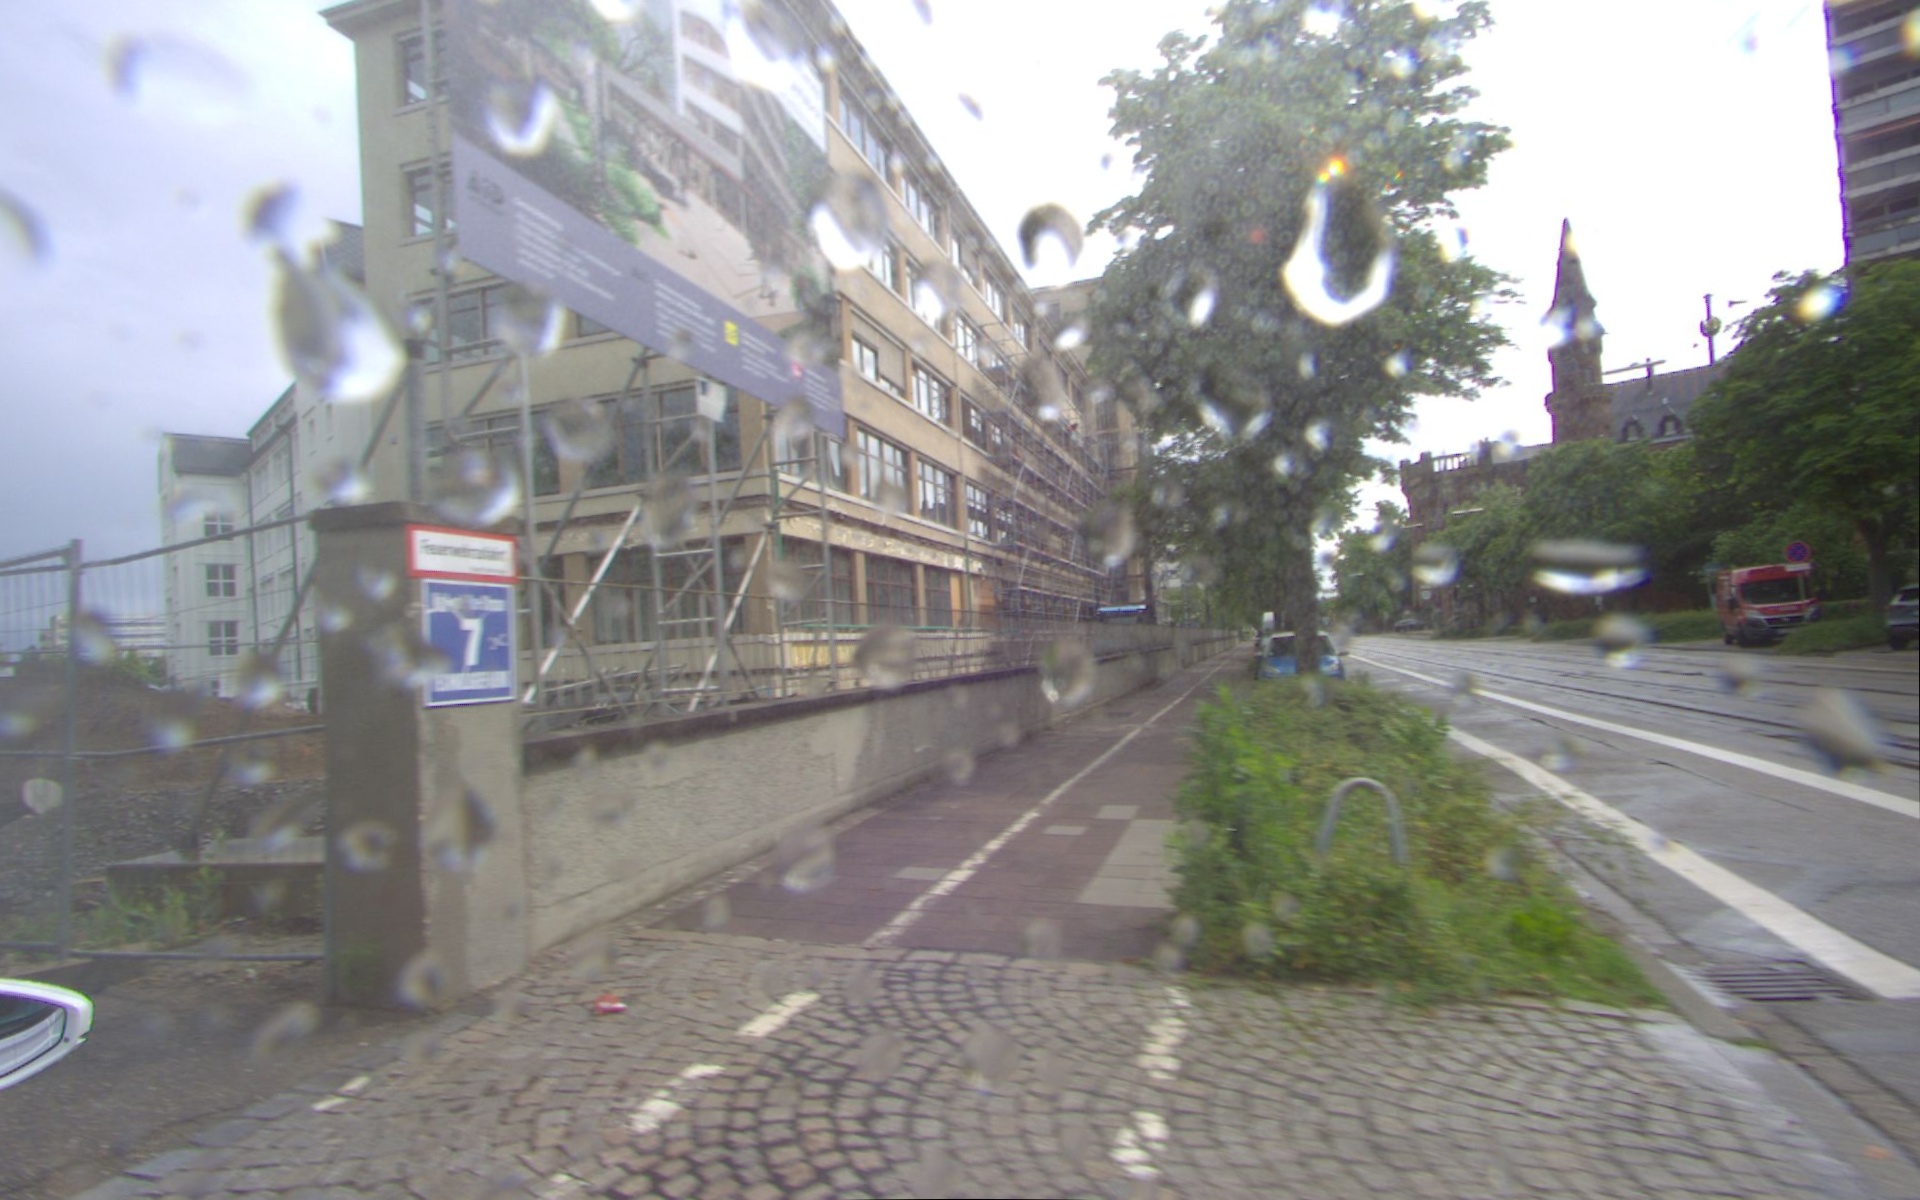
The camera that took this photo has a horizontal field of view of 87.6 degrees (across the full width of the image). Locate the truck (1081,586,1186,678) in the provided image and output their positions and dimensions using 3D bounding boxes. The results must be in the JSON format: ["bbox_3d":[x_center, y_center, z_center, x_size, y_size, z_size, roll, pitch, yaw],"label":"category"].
[{"bbox_3d":[7.997,1.534,44.973,3.186,3.570,9.900,-2,-3,18],"label":"truck"}]

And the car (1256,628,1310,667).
[{"bbox_3d":[13.413,1.931,41.412,1.788,1.489,4.063,-3,-3,22],"label":"car"}]

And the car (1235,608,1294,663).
[{"bbox_3d":[15.099,1.820,50.020,2.550,2.504,6.150,-2,-3,15],"label":"car"}]

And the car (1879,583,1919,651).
[{"bbox_3d":[24.801,0.303,24.771,3.985,1.585,1.779,-4,-2,-29],"label":"car"}]

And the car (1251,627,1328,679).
[{"bbox_3d":[10.369,1.681,31.736,1.855,1.488,4.000,-2,-3,12],"label":"car"}]

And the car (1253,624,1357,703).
[{"bbox_3d":[7.334,1.340,21.468,1.857,1.488,3.996,-2,-3,18],"label":"car"}]

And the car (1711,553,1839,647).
[{"bbox_3d":[25.816,0.053,31.936,2.270,2.667,5.456,-3,-2,31],"label":"car"}]

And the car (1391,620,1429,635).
[{"bbox_3d":[56.091,3.392,124.863,4.226,1.672,1.996,-3,-3,23],"label":"car"}]
